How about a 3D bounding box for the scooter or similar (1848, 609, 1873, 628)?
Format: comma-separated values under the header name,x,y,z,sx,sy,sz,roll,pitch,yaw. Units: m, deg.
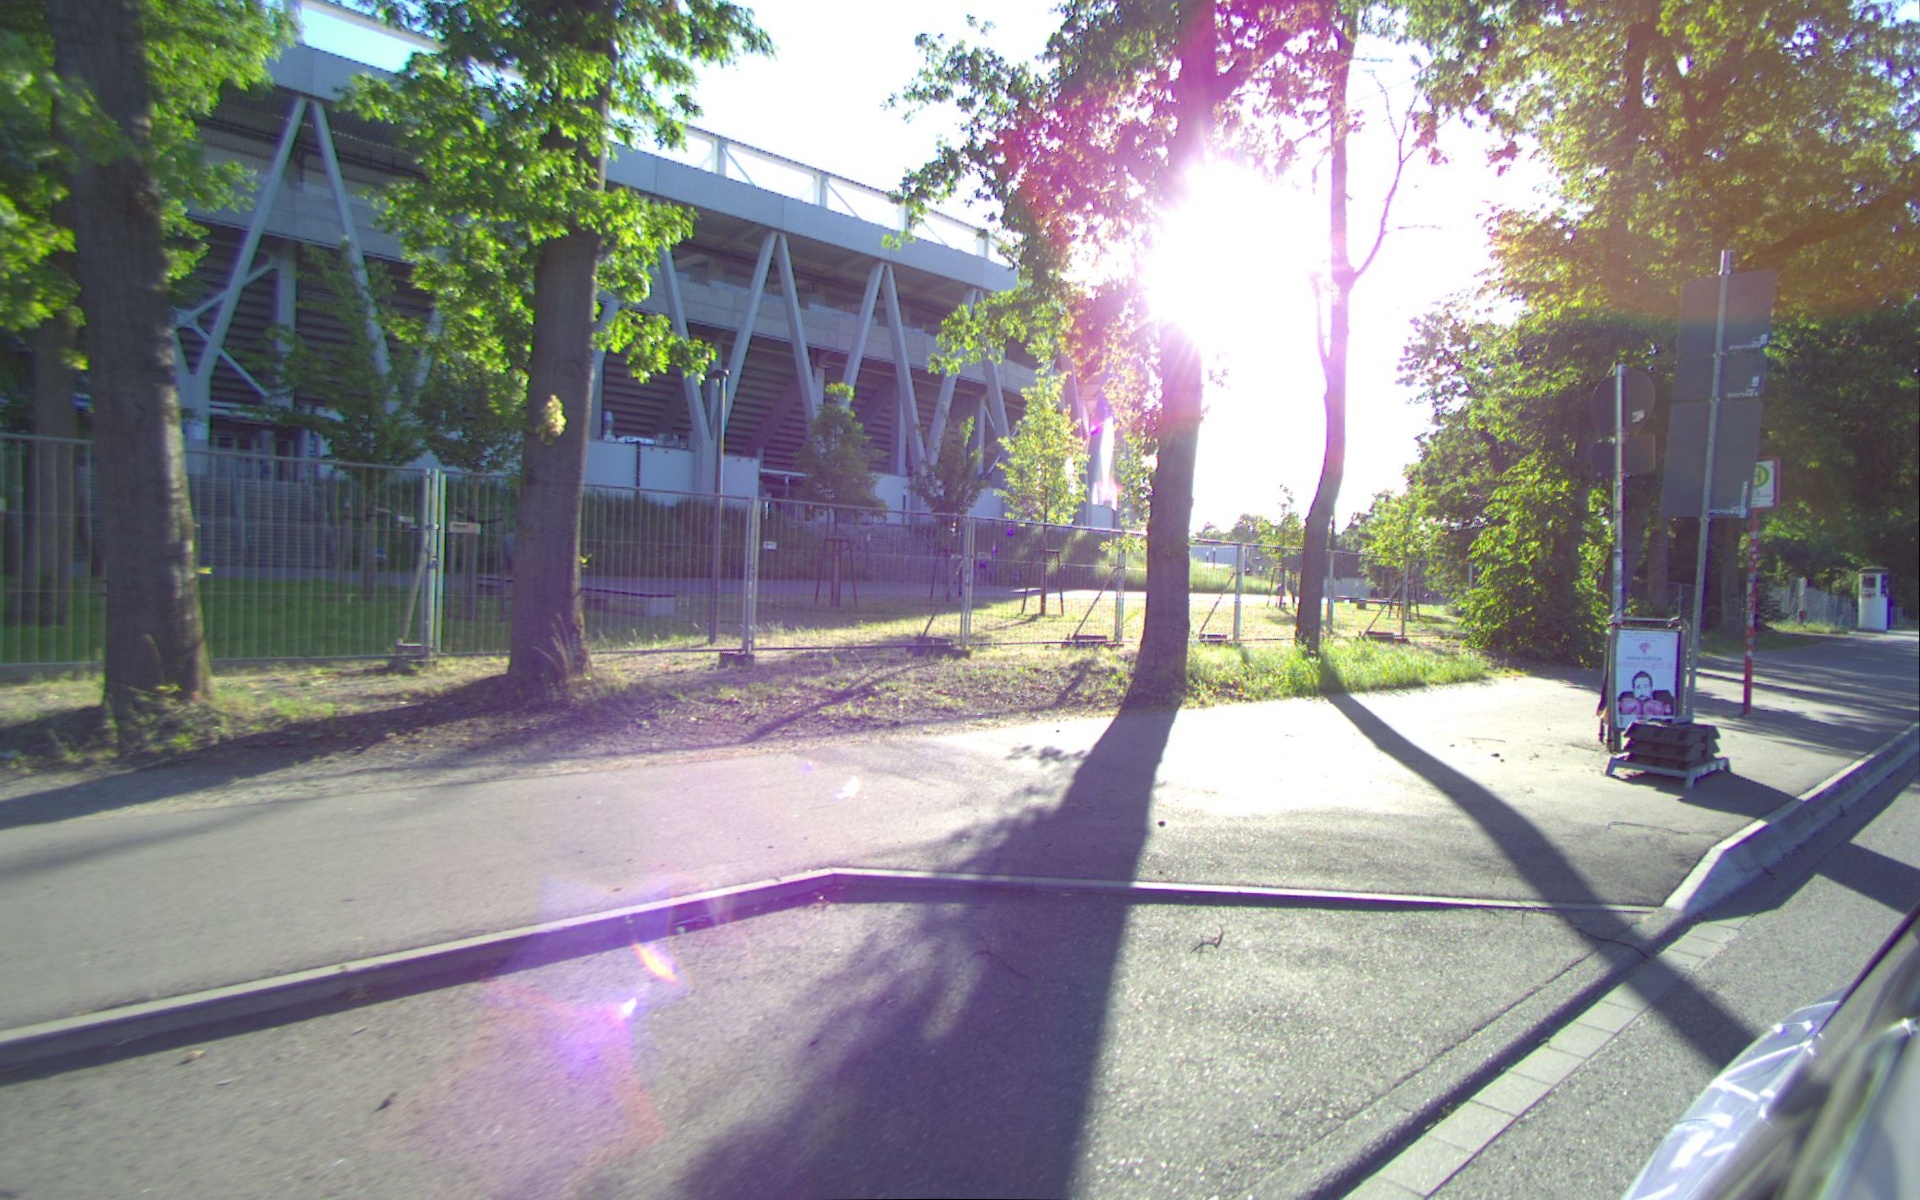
name,x,y,z,sx,sy,sz,roll,pitch,yaw
scooter or similar,61.874,1.268,69.539,1.281,1.253,0.334,2,1,13
